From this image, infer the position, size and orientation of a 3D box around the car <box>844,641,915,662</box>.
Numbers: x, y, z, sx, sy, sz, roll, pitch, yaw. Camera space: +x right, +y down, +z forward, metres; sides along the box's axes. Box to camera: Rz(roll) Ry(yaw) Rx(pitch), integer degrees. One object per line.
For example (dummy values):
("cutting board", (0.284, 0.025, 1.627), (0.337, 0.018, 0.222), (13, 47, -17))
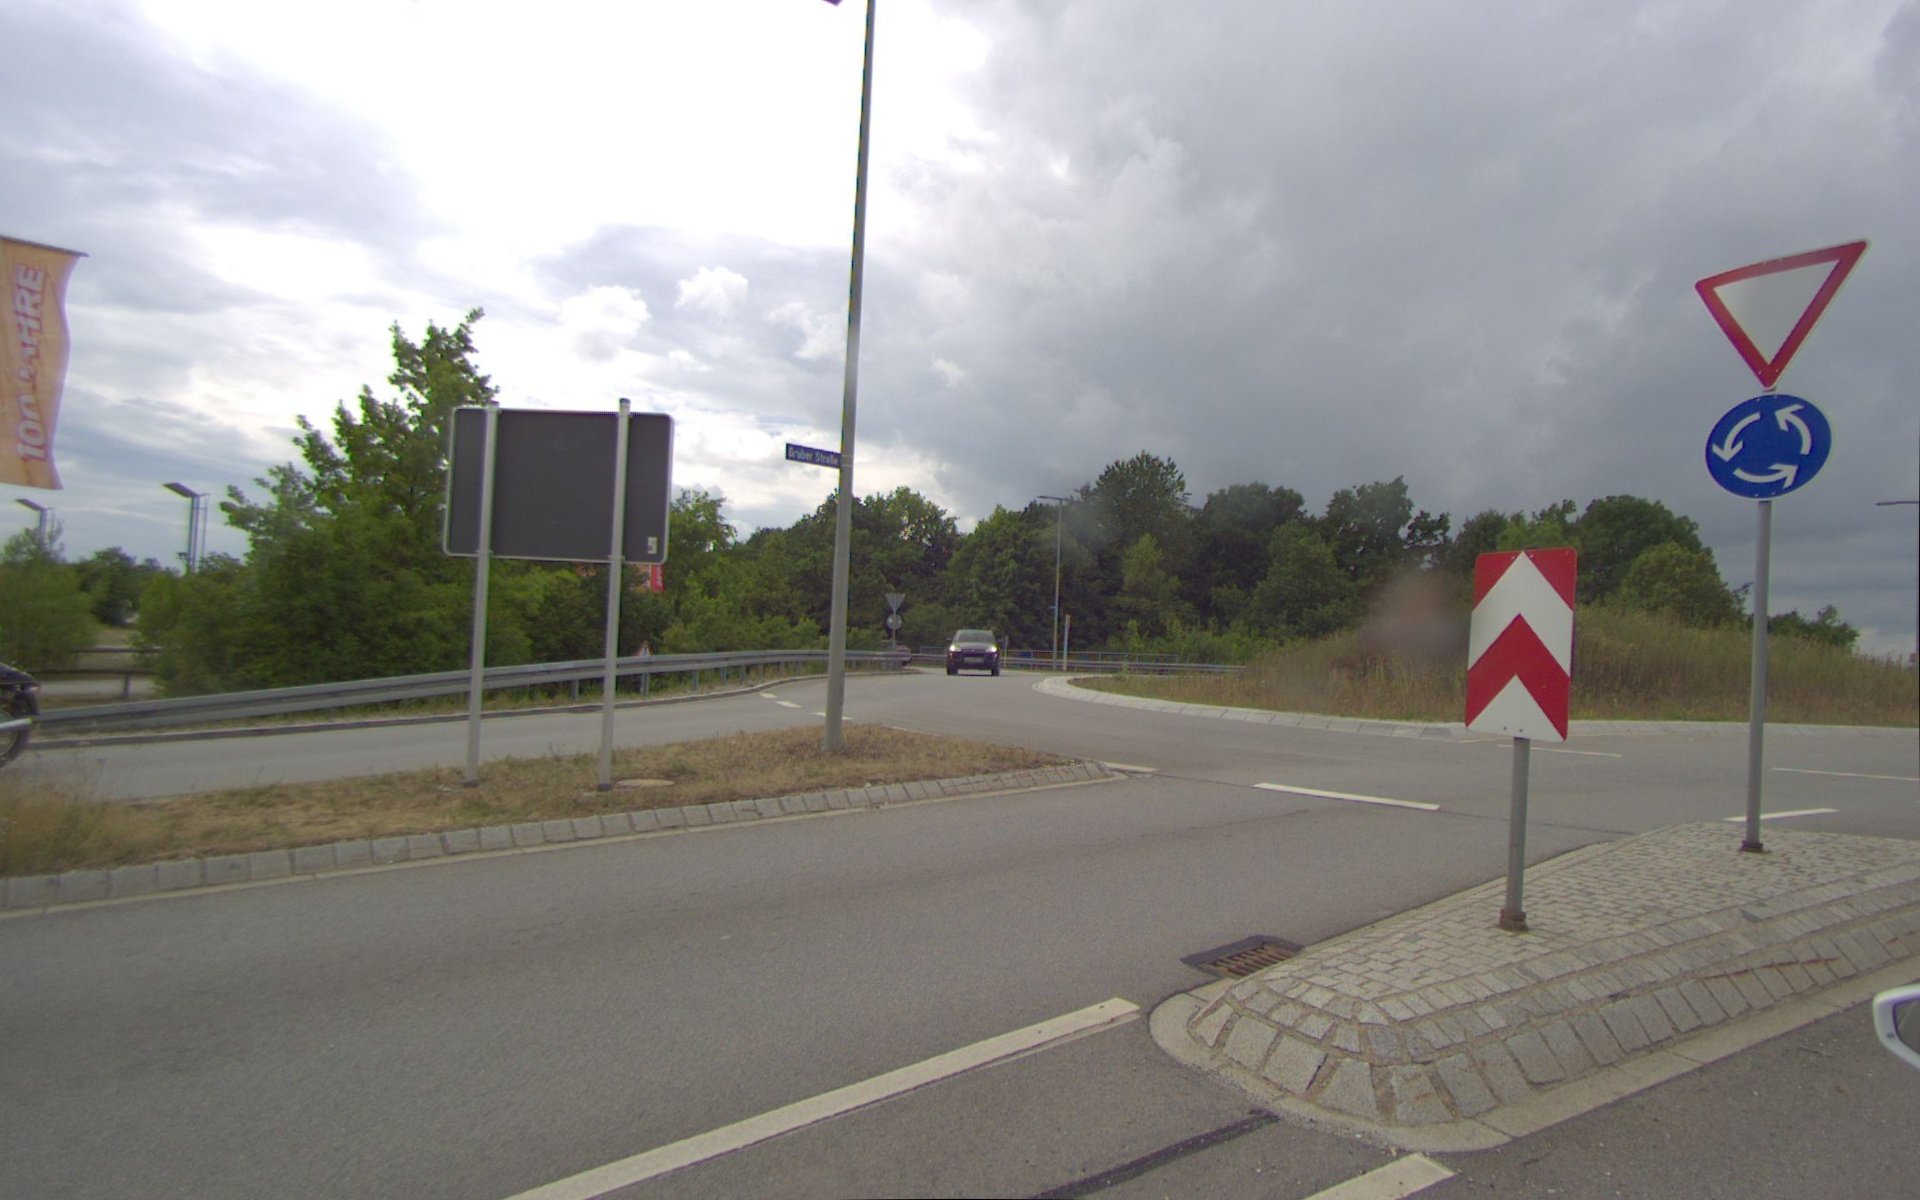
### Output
("car", (-4.920, 3.104, 61.008), (4.409, 1.190, 1.626), (-1, -3, 40))

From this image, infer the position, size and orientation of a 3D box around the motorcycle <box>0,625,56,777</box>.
("motorcycle", (-8.639, 0.818, 7.856), (0.692, 1.246, 2.240), (0, -1, 38))

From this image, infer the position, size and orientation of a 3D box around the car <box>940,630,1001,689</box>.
("car", (0.427, 2.159, 37.549), (2.064, 1.814, 5.052), (2, 0, 2))
